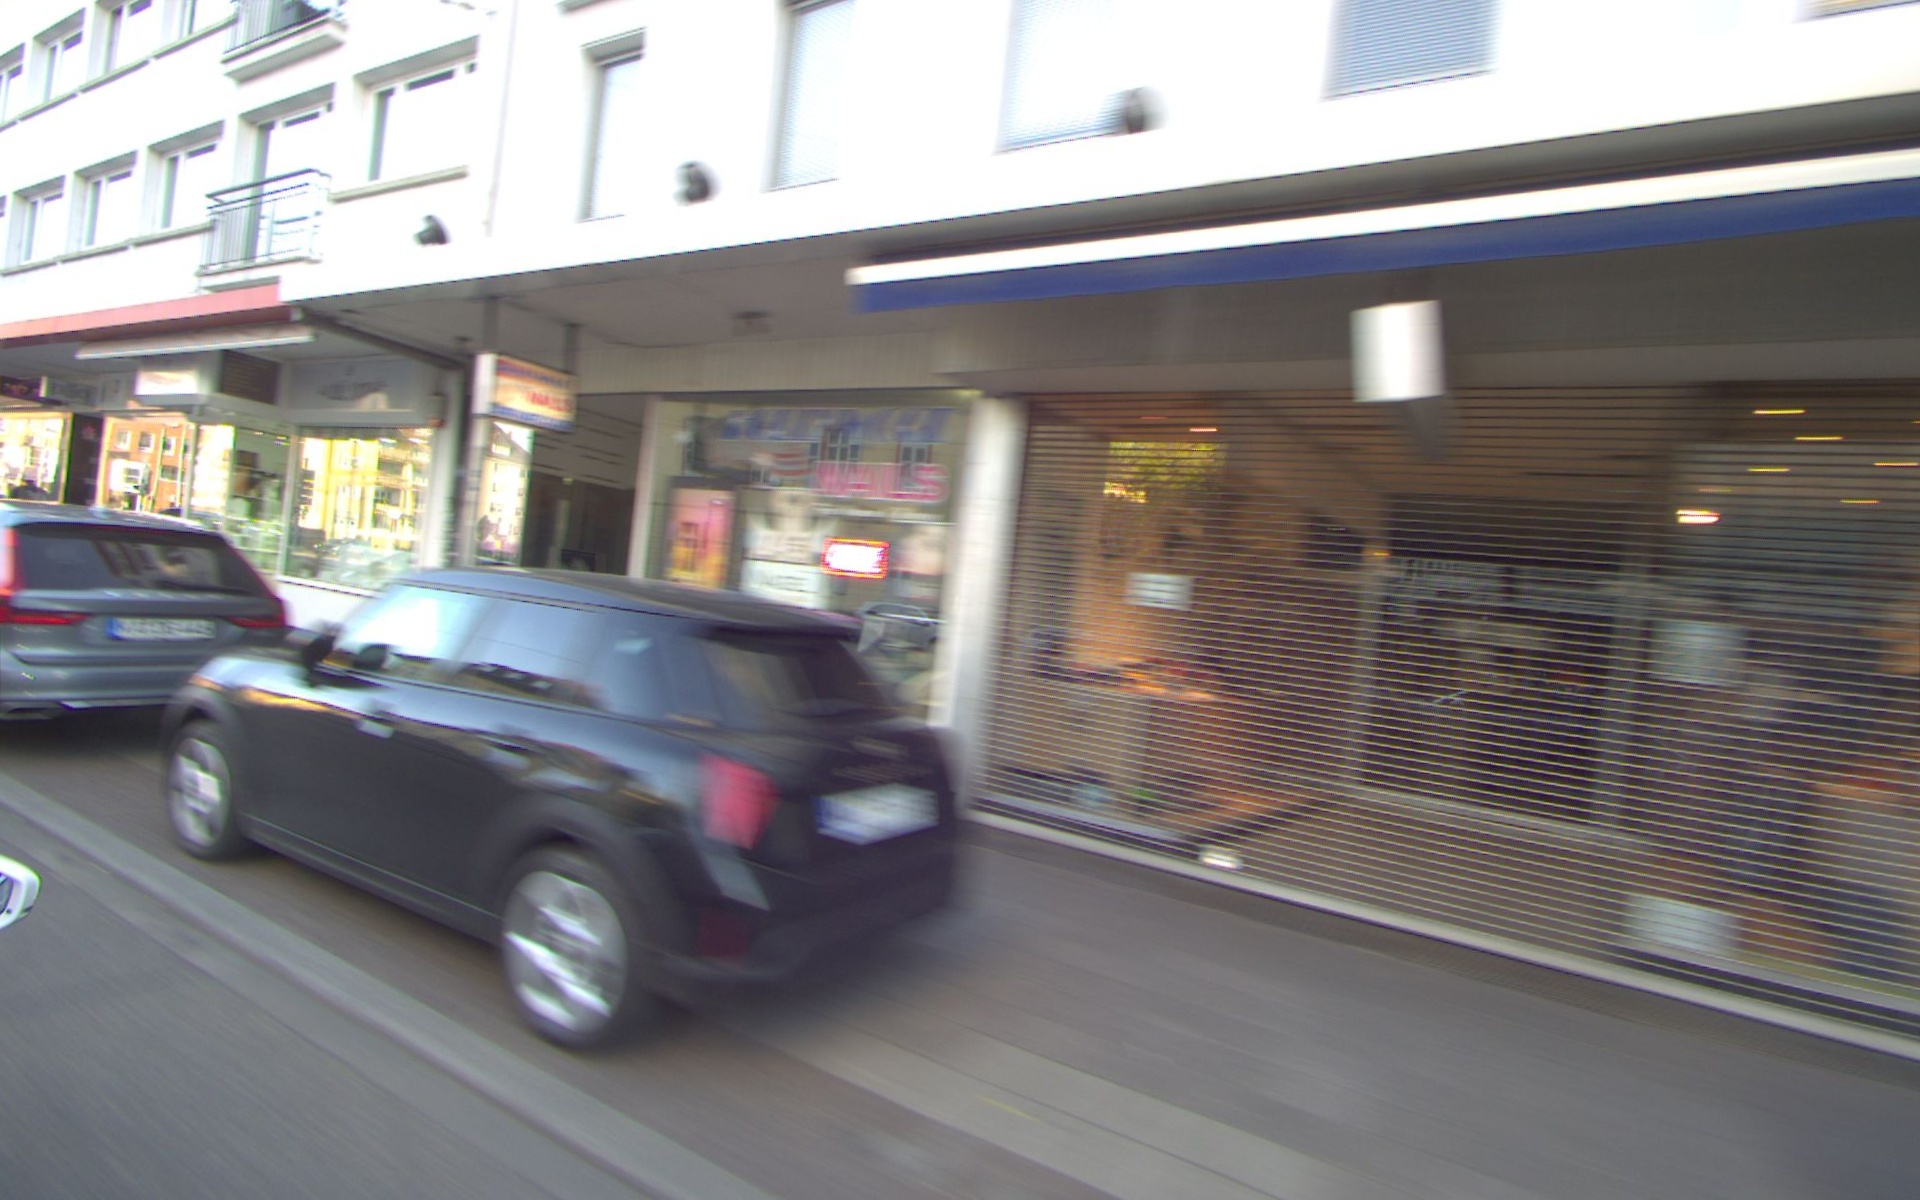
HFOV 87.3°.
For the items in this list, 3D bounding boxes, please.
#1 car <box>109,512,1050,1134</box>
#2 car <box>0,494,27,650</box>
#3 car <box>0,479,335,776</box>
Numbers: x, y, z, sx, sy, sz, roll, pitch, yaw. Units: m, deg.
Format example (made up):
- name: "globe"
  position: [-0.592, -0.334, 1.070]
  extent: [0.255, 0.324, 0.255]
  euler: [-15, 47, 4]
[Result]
- name: "car"
  position: [-1.819, 0.595, 4.463]
  extent: [3.934, 1.498, 1.730]
  euler: [6, -3, 32]
- name: "car"
  position: [-11.701, -0.575, 10.431]
  extent: [4.284, 1.539, 1.785]
  euler: [7, -2, 32]
- name: "car"
  position: [-6.719, 0.011, 7.093]
  extent: [4.775, 1.550, 1.796]
  euler: [6, -3, 31]
